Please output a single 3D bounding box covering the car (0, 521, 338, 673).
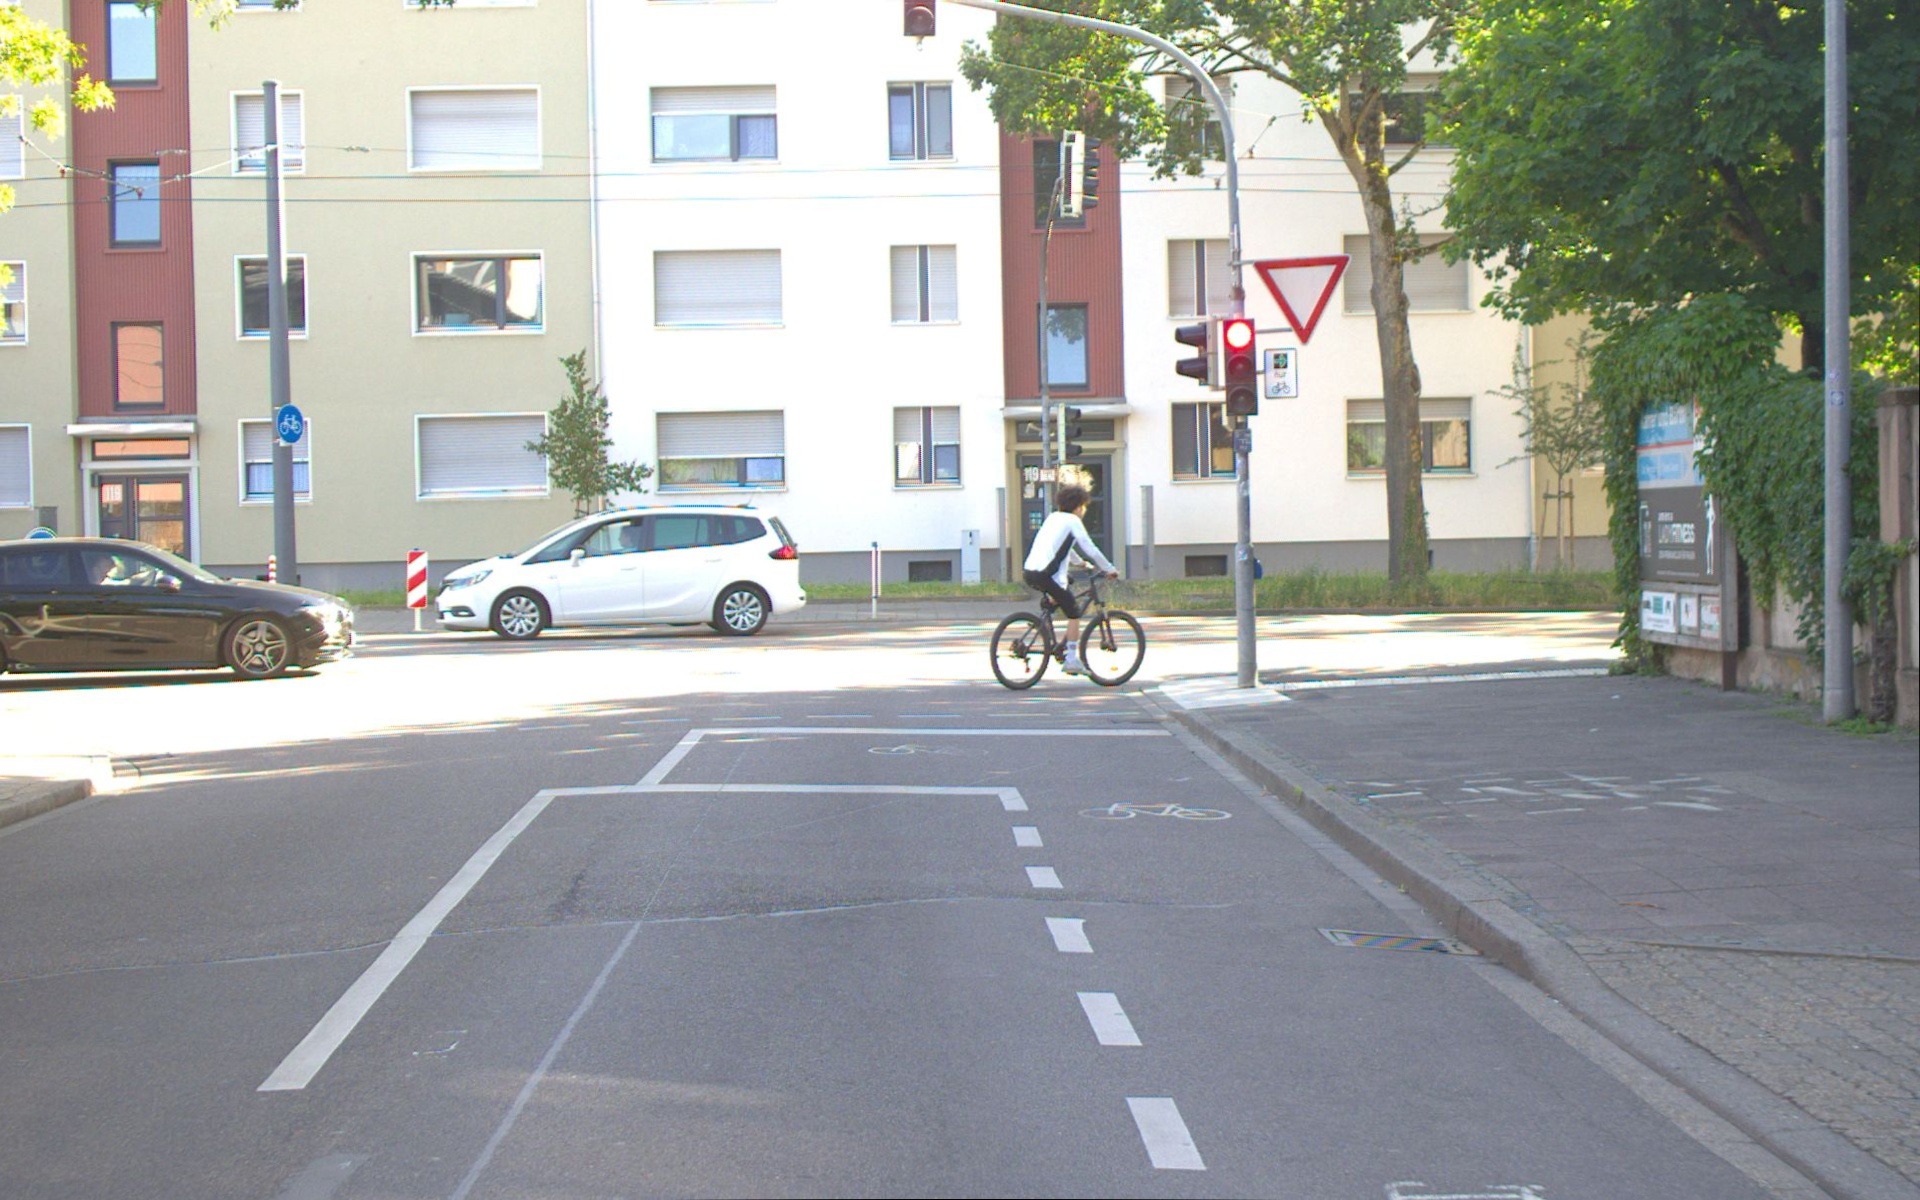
[{"bbox_3d":[-8.230,-0.050,33.409,4.191,1.416,1.854,0,2,-14],"label":"car"}]

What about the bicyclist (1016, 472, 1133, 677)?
[{"bbox_3d":[0.996,-0.230,29.848,0.787,1.751,0.612,-2,2,-42],"label":"bicyclist"}]

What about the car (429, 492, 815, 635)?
[{"bbox_3d":[-4.295,-0.482,43.399,4.660,1.733,2.001,-1,1,-11],"label":"car"}]

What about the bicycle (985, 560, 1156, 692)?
[{"bbox_3d":[0.971,0.211,29.829,1.684,1.076,0.351,-2,2,-41],"label":"bicycle"}]
